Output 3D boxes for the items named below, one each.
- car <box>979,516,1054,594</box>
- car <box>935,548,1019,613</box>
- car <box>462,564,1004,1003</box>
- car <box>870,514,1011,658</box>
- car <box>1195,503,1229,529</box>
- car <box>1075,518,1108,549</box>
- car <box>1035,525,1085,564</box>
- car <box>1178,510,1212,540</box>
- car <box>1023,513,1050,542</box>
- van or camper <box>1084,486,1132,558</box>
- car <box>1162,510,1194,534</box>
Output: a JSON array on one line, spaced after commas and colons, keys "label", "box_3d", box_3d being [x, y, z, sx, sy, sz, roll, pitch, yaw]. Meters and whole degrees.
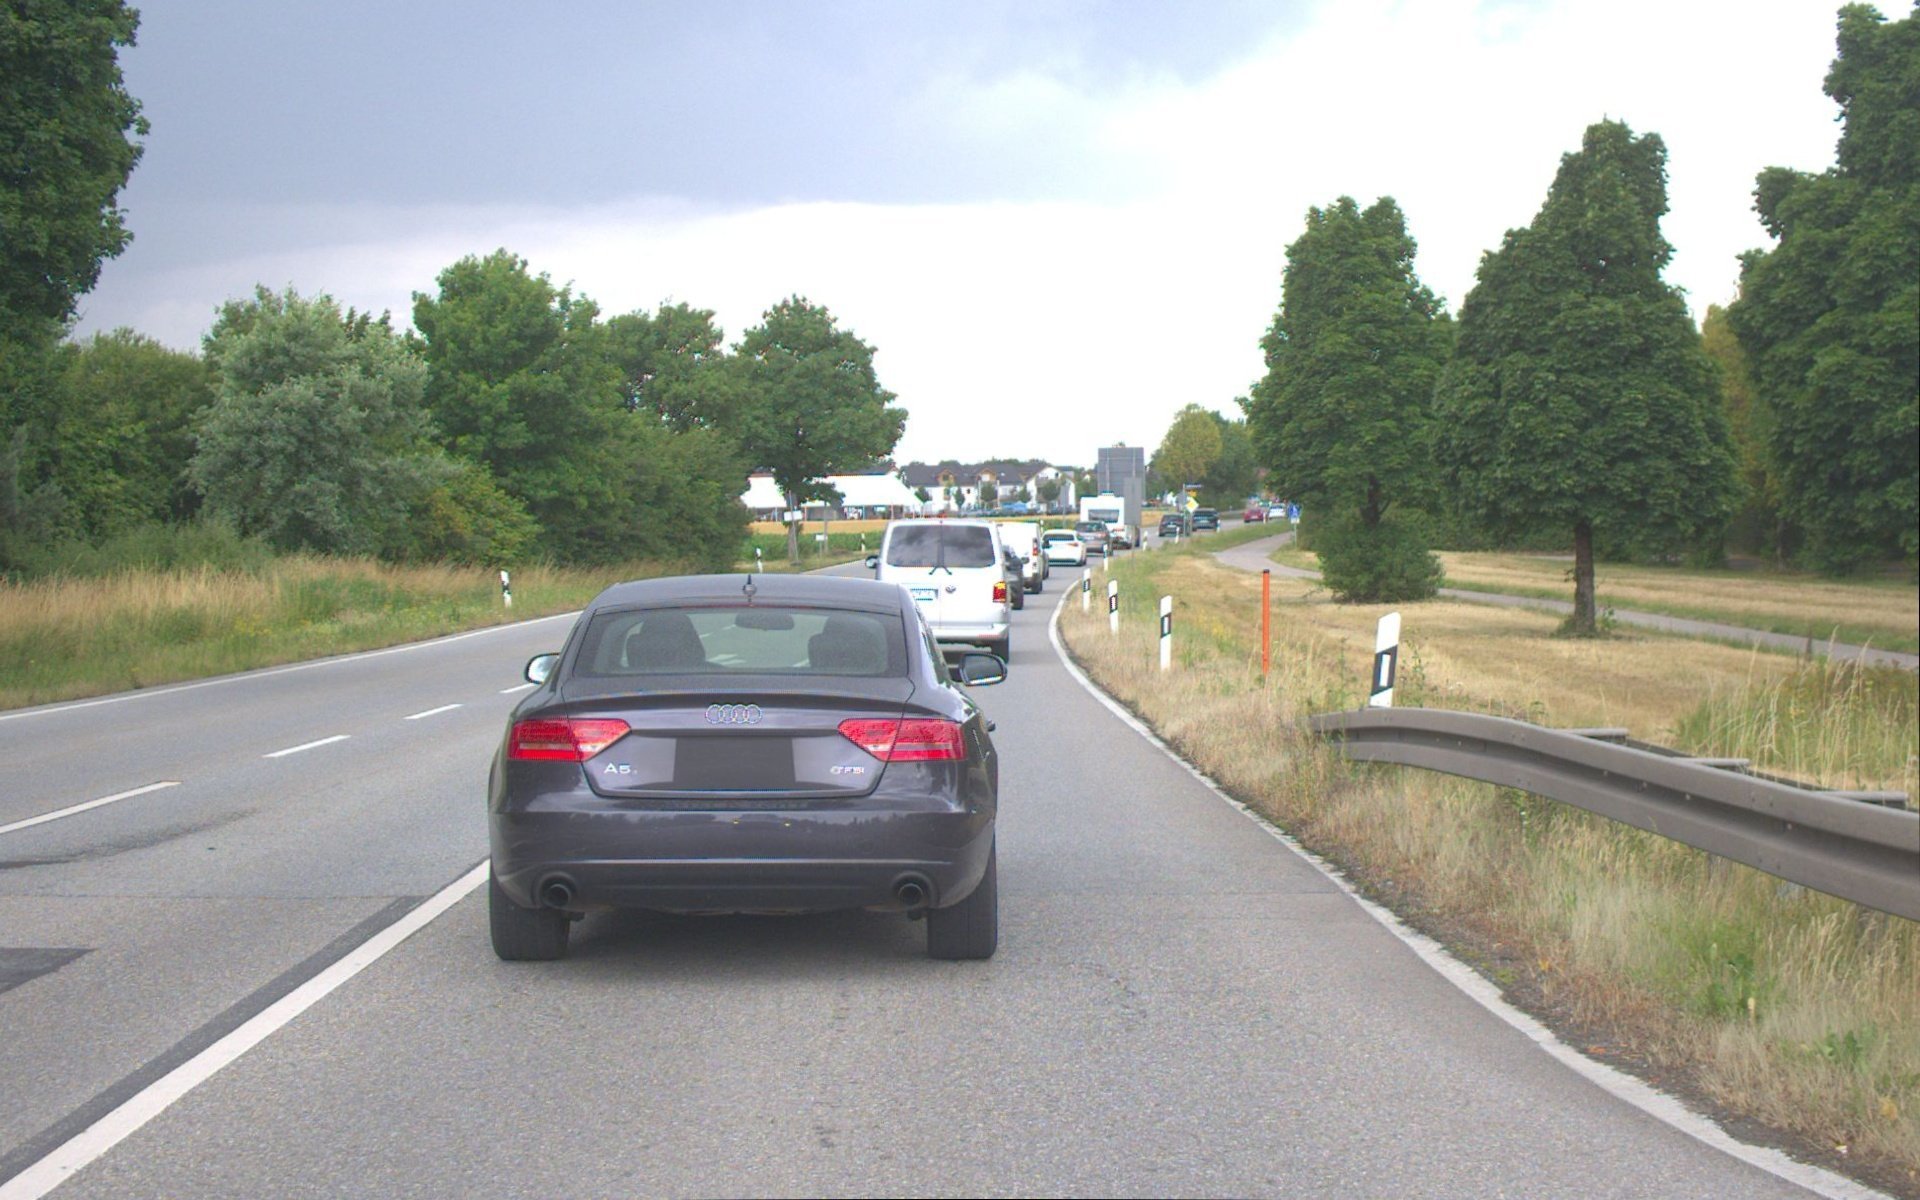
[{"label": "car", "box_3d": [1.585, -1.250, 94.740, 1.993, 2.081, 4.000, 0, 1, 2]}, {"label": "car", "box_3d": [0.421, -0.462, 79.396, 1.796, 1.459, 3.248, 0, 1, 3]}, {"label": "car", "box_3d": [-0.787, 0.590, 13.413, 1.783, 1.372, 4.000, 1, 1, -1]}, {"label": "car", "box_3d": [-0.287, -0.240, 47.491, 1.838, 1.876, 4.000, 1, 1, -1]}, {"label": "car", "box_3d": [15.788, -5.249, 215.585, 1.821, 1.591, 4.000, 1, 1, 0]}, {"label": "car", "box_3d": [5.747, -2.918, 150.181, 1.258, 1.349, 3.465, 0, 1, 5]}, {"label": "car", "box_3d": [3.880, -2.151, 132.910, 1.736, 1.509, 3.746, 0, 1, 5]}, {"label": "car", "box_3d": [16.207, -5.170, 237.294, 1.993, 2.007, 4.000, 0, 1, -1]}, {"label": "car", "box_3d": [4.798, -4.547, 216.241, 1.595, 1.796, 3.201, 1, 1, 0]}, {"label": "van or camper", "box_3d": [7.287, -3.823, 169.349, 2.340, 3.469, 5.718, 0, 1, 2]}, {"label": "car", "box_3d": [13.557, -4.847, 213.902, 1.719, 1.446, 4.000, 1, 1, 0]}]
